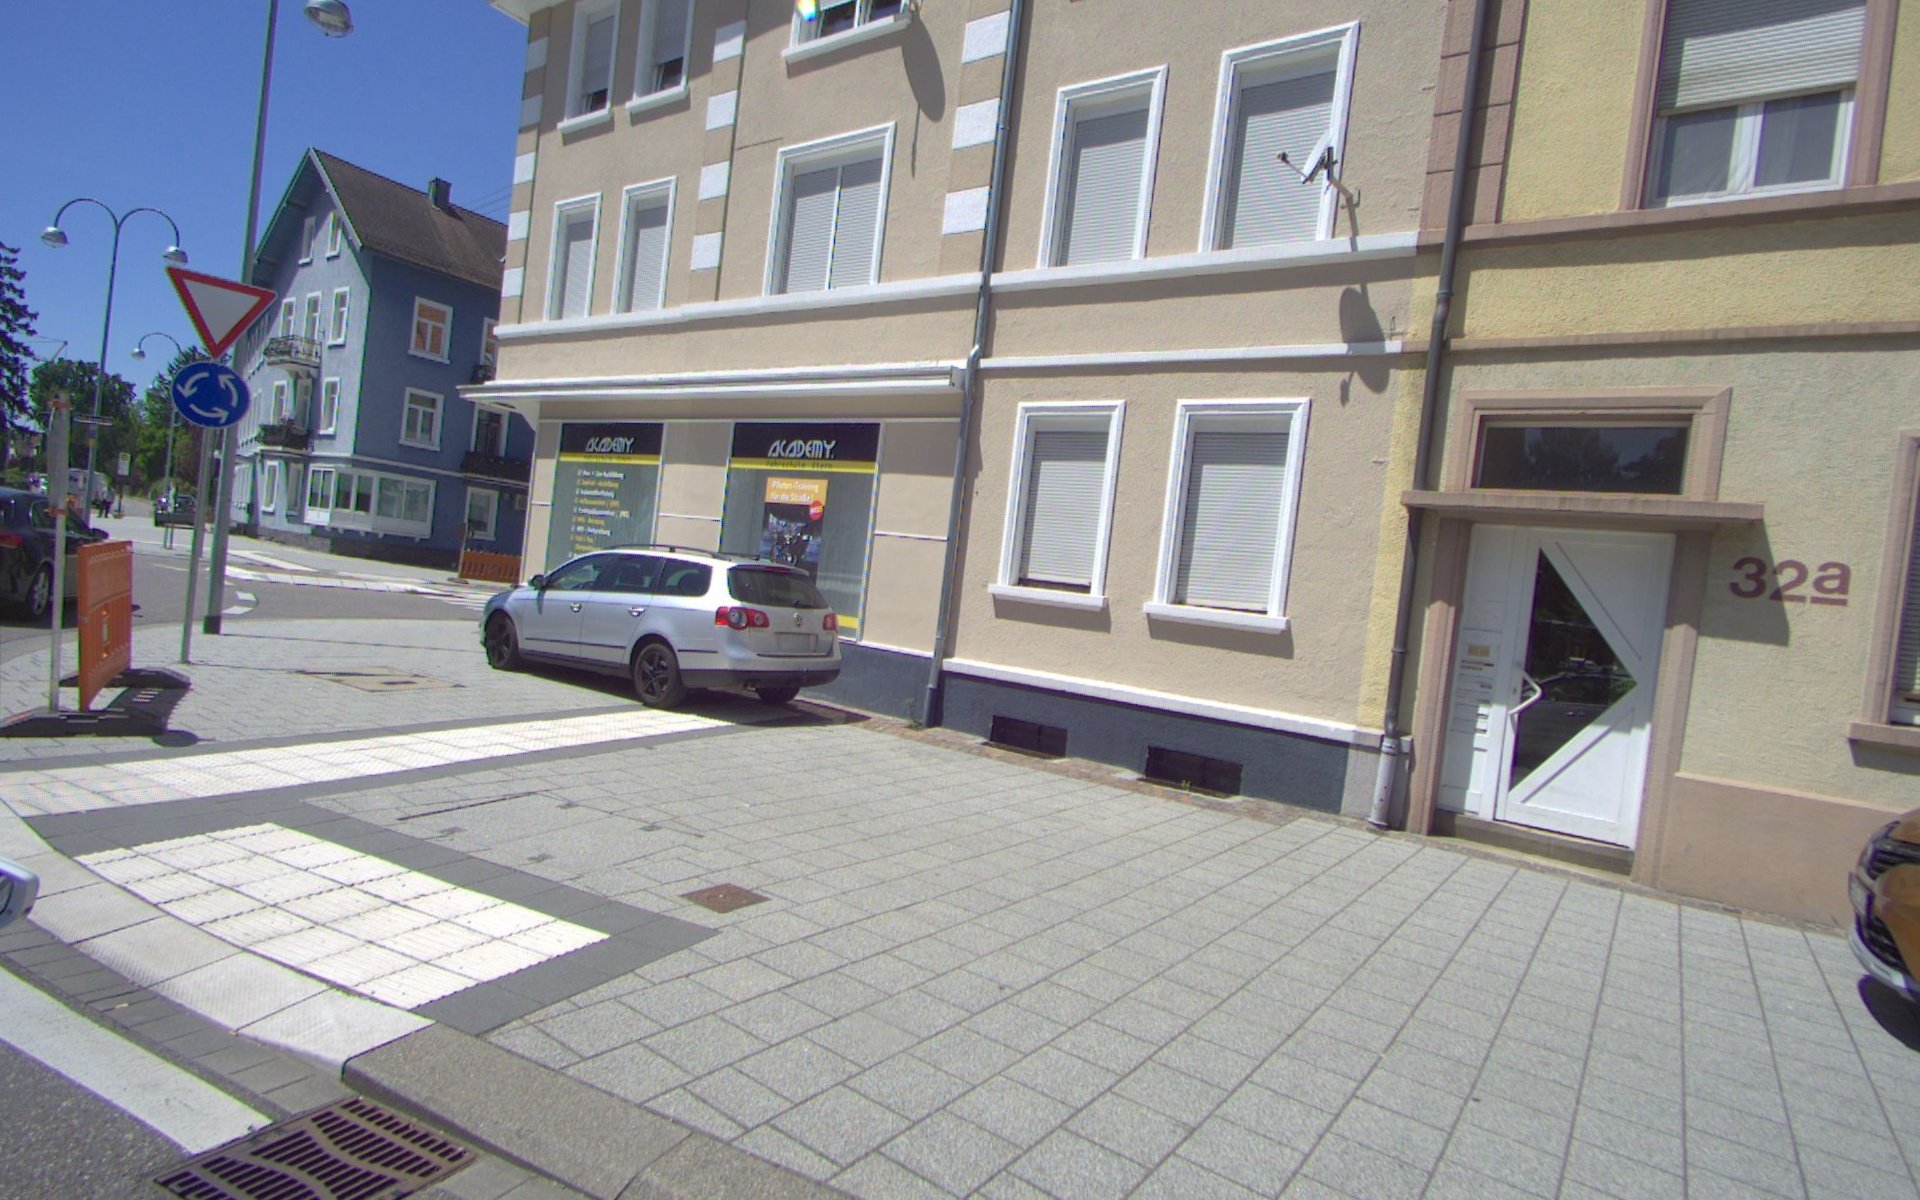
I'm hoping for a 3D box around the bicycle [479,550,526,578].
[{"bbox_3d":[-19.064,-1.489,41.946,0.433,0.918,1.706,10,1,38],"label":"bicycle"}]

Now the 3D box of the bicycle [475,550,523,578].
[{"bbox_3d":[-18.927,-1.453,41.318,0.433,0.918,1.706,10,1,38],"label":"bicycle"}]

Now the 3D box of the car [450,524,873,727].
[{"bbox_3d":[-3.327,0.171,10.788,4.615,1.550,1.764,6,1,35],"label":"car"}]

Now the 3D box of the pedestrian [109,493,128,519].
[{"bbox_3d":[-44.744,-5.004,53.491,0.661,1.304,0.582,3,4,-31],"label":"pedestrian"}]

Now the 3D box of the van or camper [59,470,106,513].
[{"bbox_3d":[-62.842,-7.737,72.074,2.196,2.643,3.955,7,0,-40],"label":"van or camper"}]

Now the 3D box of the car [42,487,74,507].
[{"bbox_3d":[-88.085,-10.041,98.284,1.985,1.671,3.956,7,0,-39],"label":"car"}]

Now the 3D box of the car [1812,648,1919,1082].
[{"bbox_3d":[5.844,1.249,3.341,4.294,1.641,1.671,7,3,35],"label":"car"}]

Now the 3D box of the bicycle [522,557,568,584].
[{"bbox_3d":[-17.804,-1.250,43.195,0.474,0.918,1.706,10,1,38],"label":"bicycle"}]

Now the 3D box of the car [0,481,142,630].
[{"bbox_3d":[-11.507,-0.664,11.872,1.938,1.444,3.971,9,0,-27],"label":"car"}]

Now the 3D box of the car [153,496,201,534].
[{"bbox_3d":[-36.189,-3.946,46.537,1.630,1.528,3.525,3,3,-38],"label":"car"}]
